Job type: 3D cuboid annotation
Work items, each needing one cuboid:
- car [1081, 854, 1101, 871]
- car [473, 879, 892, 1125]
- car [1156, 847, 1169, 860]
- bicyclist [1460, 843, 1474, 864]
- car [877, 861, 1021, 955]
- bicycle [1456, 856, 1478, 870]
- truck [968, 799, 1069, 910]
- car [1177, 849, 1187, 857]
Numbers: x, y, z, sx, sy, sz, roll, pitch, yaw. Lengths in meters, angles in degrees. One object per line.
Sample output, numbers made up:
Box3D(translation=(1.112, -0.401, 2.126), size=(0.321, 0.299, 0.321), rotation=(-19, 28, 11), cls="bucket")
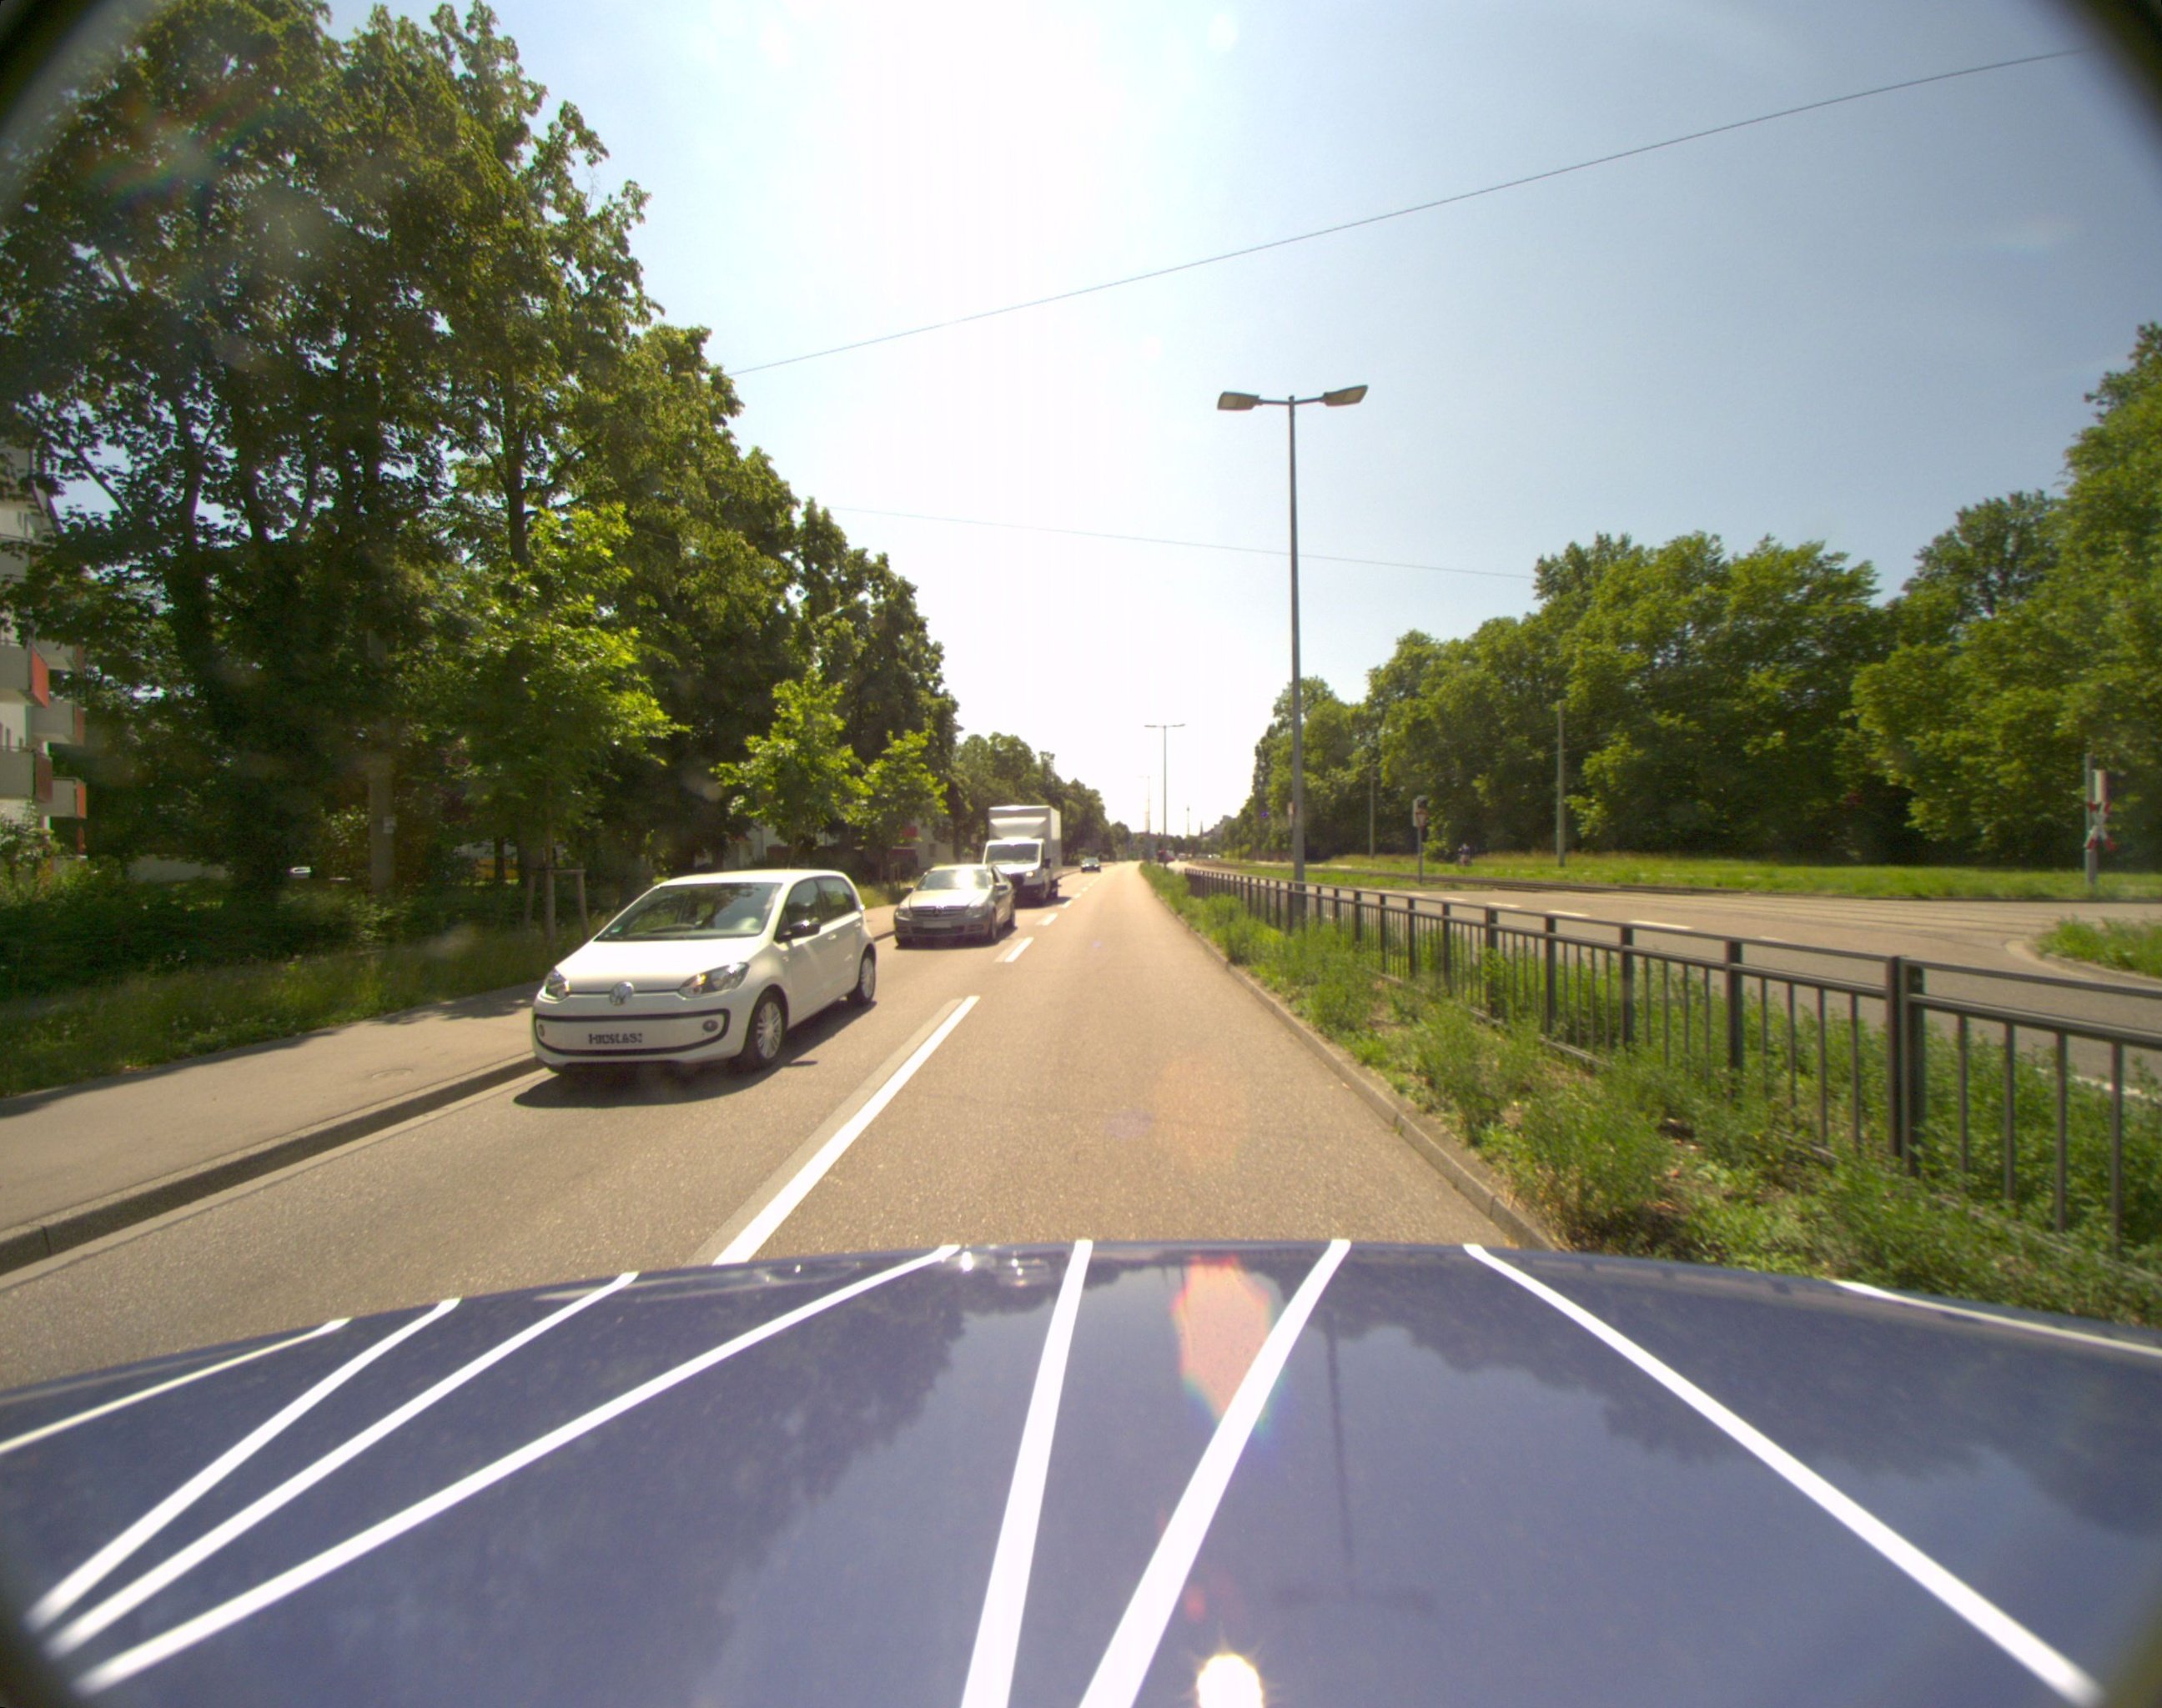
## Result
Box3D(translation=(0.987, 0.779, 74.309), size=(1.829, 1.556, 4.000), rotation=(-1, 0, 2), cls="car")
Box3D(translation=(-3.116, 1.048, 6.948), size=(1.663, 1.441, 3.855), rotation=(-2, 0, 2), cls="car")
Box3D(translation=(15.273, -0.125, 142.903), size=(1.998, 2.352, 5.373), rotation=(0, 0, 2), cls="car")
Box3D(translation=(24.607, -0.037, 48.479), size=(0.509, 1.328, 0.680), rotation=(-1, 1, -5), cls="bicyclist")
Box3D(translation=(-2.391, 0.932, 14.802), size=(1.903, 1.451, 3.971), rotation=(-2, 0, 2), cls="car")
Box3D(translation=(24.598, 0.556, 48.391), size=(0.509, 0.896, 1.565), rotation=(-1, 0, -4), cls="bicycle")
Box3D(translation=(-1.940, -0.001, 26.925), size=(2.294, 3.259, 8.313), rotation=(-1, 0, 4), cls="truck")
Box3D(translation=(25.306, -0.211, 190.666), size=(1.998, 2.002, 5.031), rotation=(0, 0, 2), cls="car")
